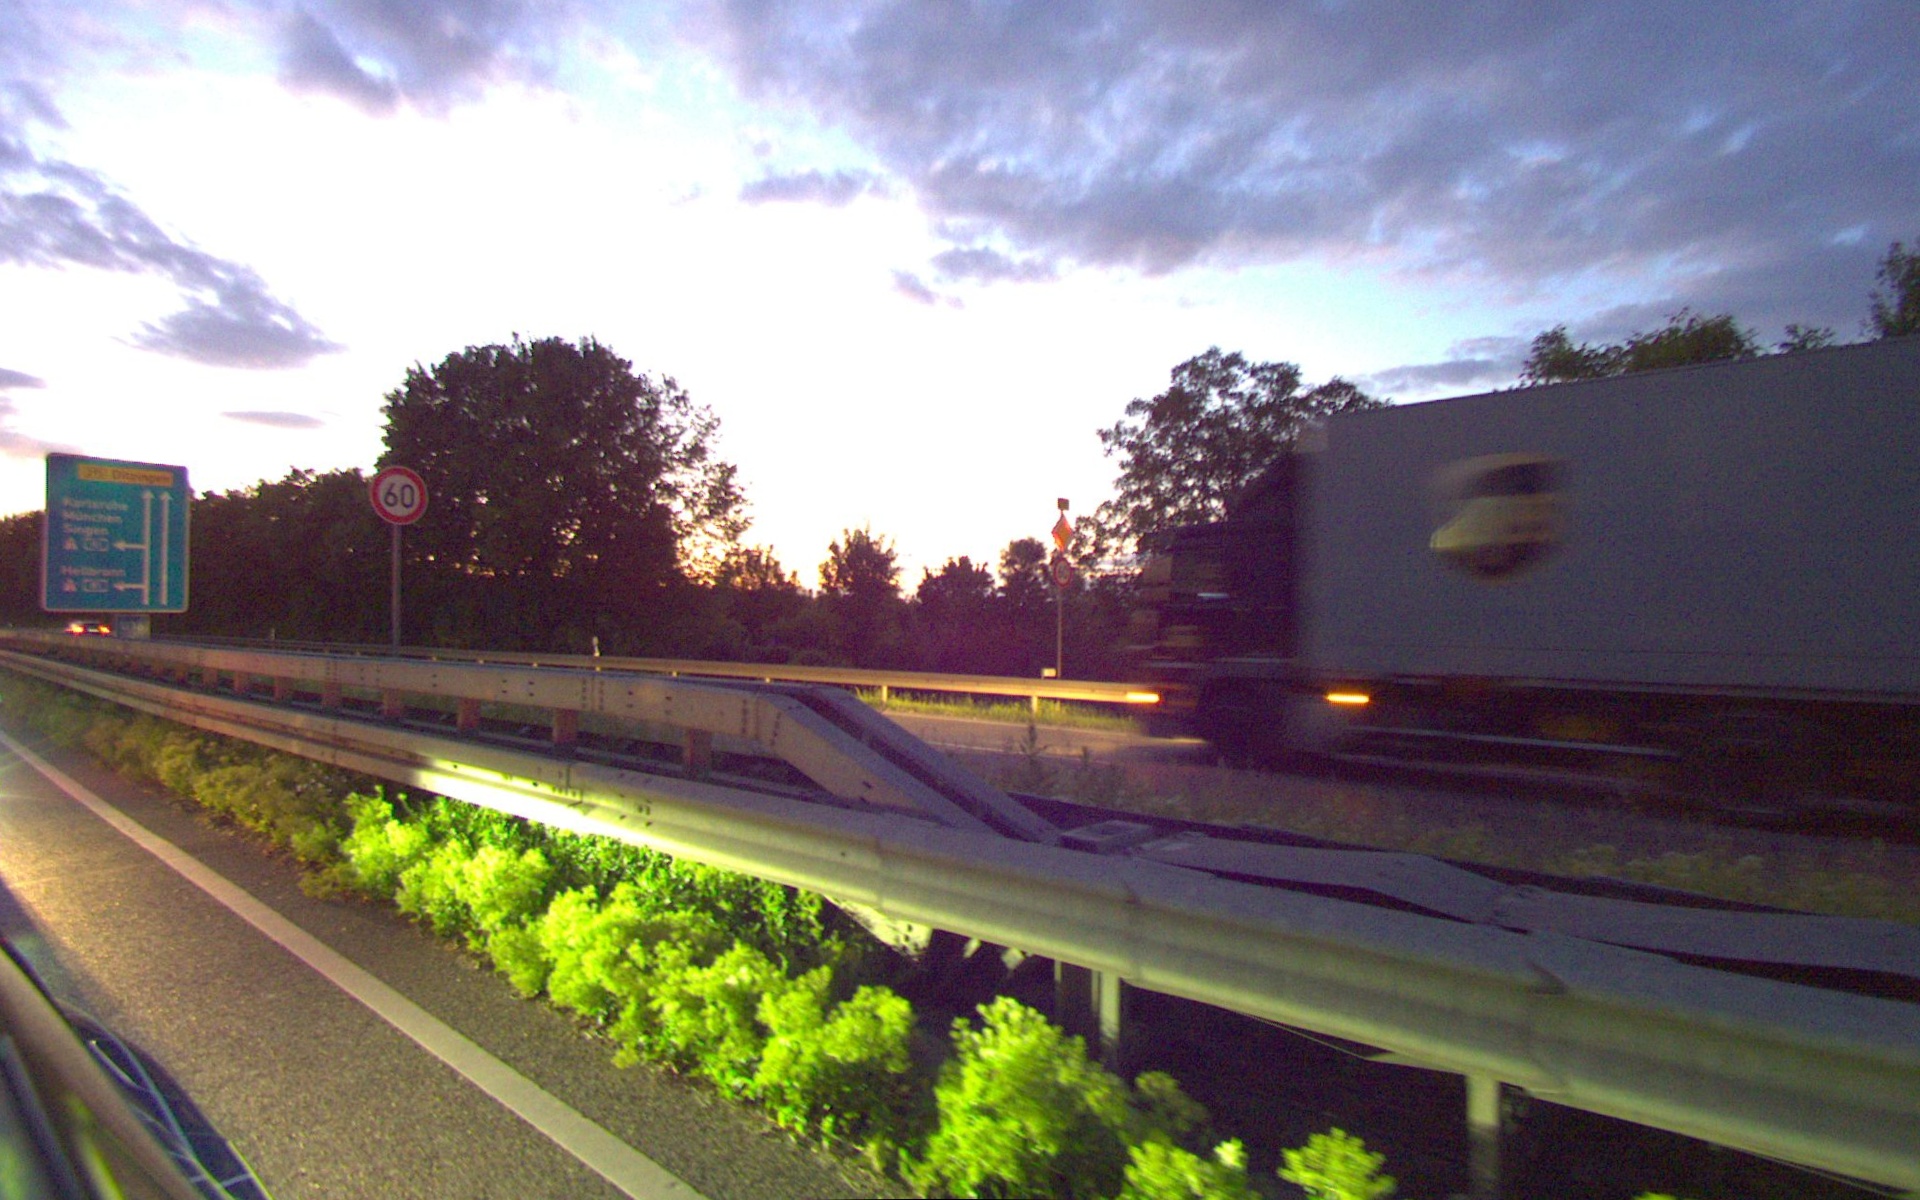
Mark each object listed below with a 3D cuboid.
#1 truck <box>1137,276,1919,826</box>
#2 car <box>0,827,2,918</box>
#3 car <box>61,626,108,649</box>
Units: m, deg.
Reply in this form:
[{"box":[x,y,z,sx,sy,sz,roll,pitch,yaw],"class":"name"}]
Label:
[{"box":[6.845,-0.349,9.863,10.347,4.148,2.695,-1,-1,44],"class":"truck"},{"box":[-6.746,0.816,5.561,4.645,1.447,1.795,-2,0,42],"class":"car"},{"box":[-58.946,2.490,68.114,4.587,1.516,1.612,-1,-3,40],"class":"car"}]
